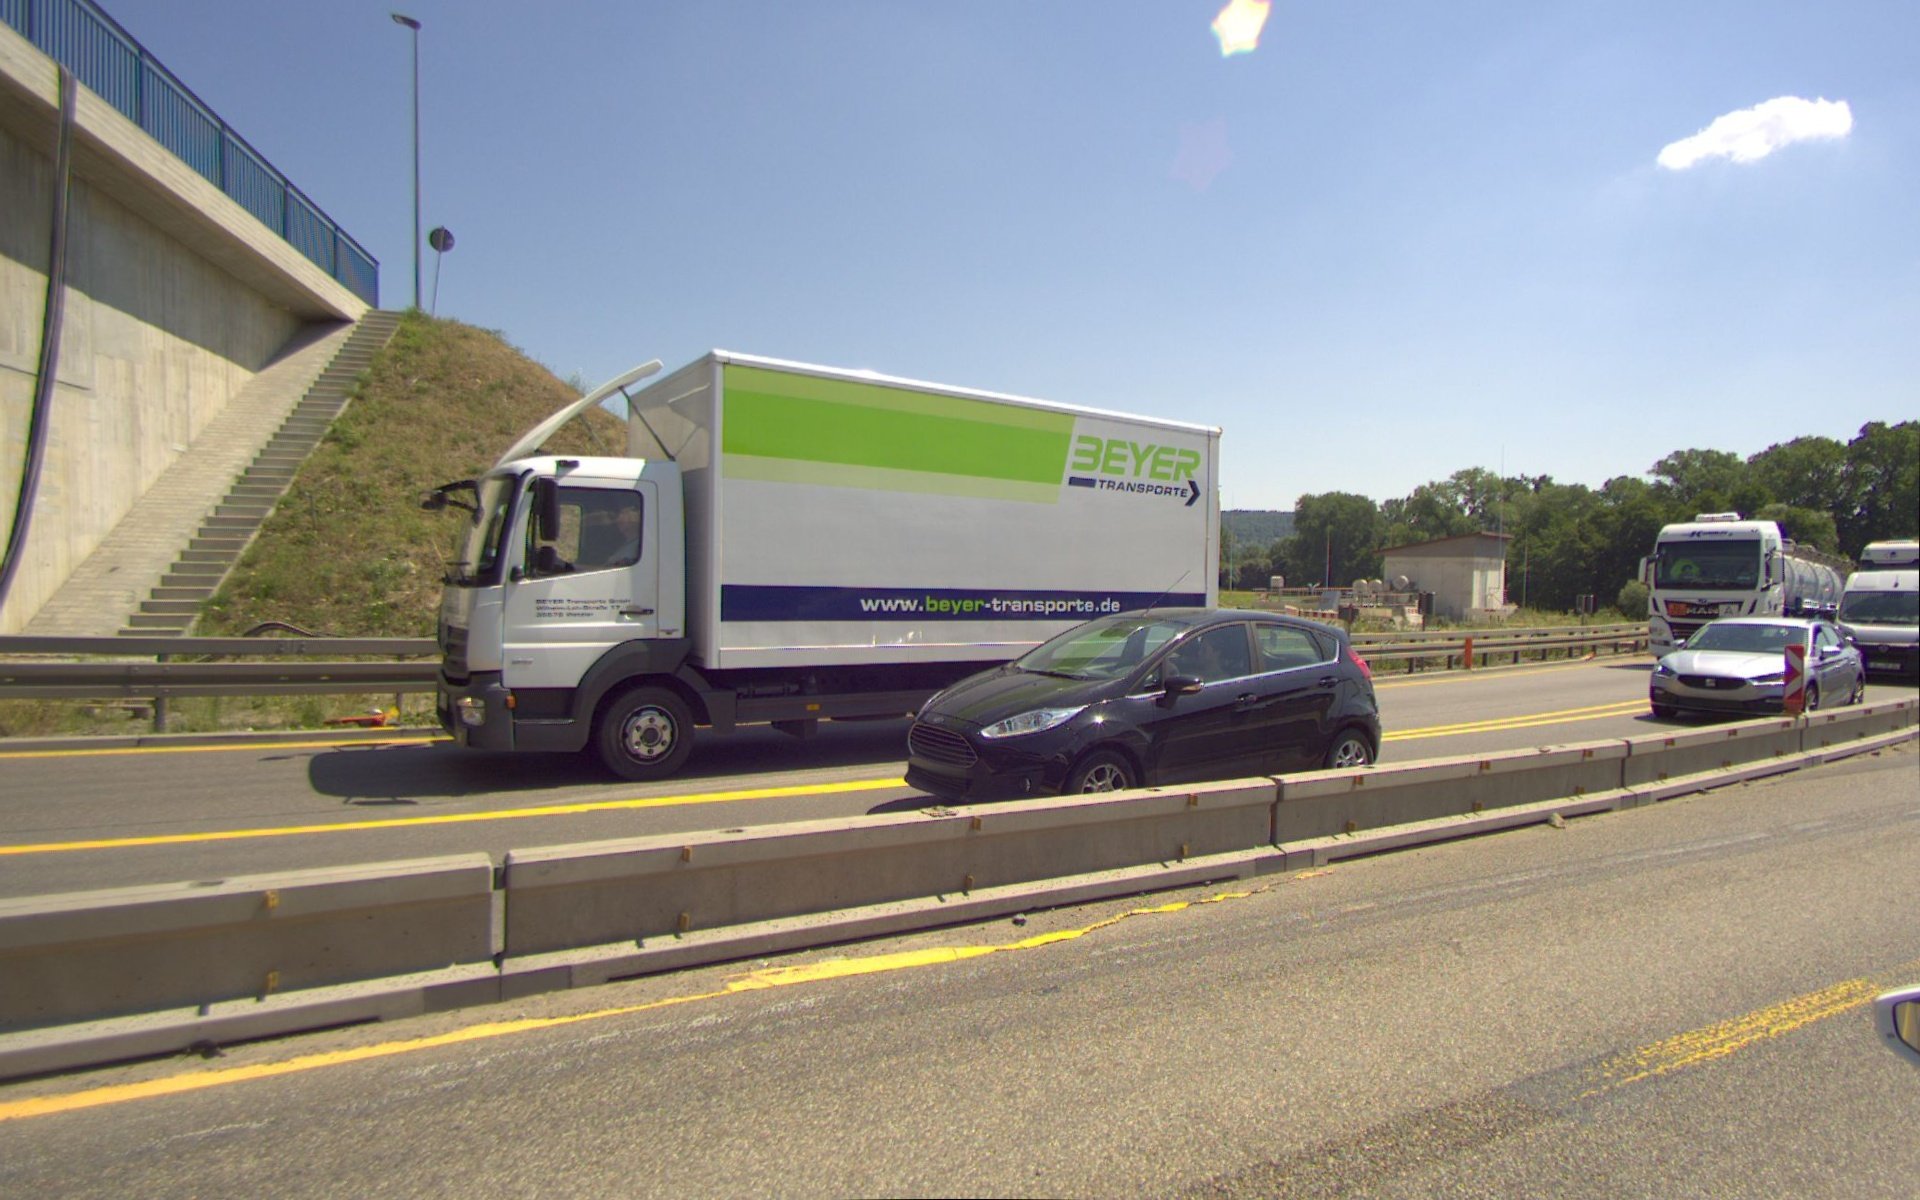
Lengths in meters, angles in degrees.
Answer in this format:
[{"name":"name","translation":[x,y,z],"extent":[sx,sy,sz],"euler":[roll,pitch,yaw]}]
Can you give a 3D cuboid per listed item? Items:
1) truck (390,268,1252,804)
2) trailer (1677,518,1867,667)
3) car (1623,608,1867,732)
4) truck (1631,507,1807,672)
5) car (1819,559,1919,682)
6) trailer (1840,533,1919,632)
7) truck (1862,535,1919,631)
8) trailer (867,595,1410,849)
[{"name":"truck","translation":[-0.915,-0.377,10.355],"extent":[8.411,3.623,2.799],"euler":[1,1,-35]},{"name":"trailer","translation":[24.666,-0.167,30.232],"extent":[10.162,3.840,2.504],"euler":[1,2,-40]},{"name":"car","translation":[11.499,0.891,14.609],"extent":[4.484,1.484,1.830],"euler":[0,1,-39]},{"name":"truck","translation":[19.801,-0.254,26.146],"extent":[4.910,3.873,2.512],"euler":[1,2,-40]},{"name":"car","translation":[21.989,0.500,23.391],"extent":[6.433,2.537,2.053],"euler":[2,0,-41]},{"name":"trailer","translation":[43.290,-0.777,46.303],"extent":[5.164,4.286,2.848],"euler":[0,1,-34]},{"name":"truck","translation":[50.090,-0.802,50.945],"extent":[15.213,4.401,2.789],"euler":[0,2,-34]},{"name":"trailer","translation":[1.448,0.759,7.577],"extent":[3.957,1.450,1.654],"euler":[2,0,-33]}]
